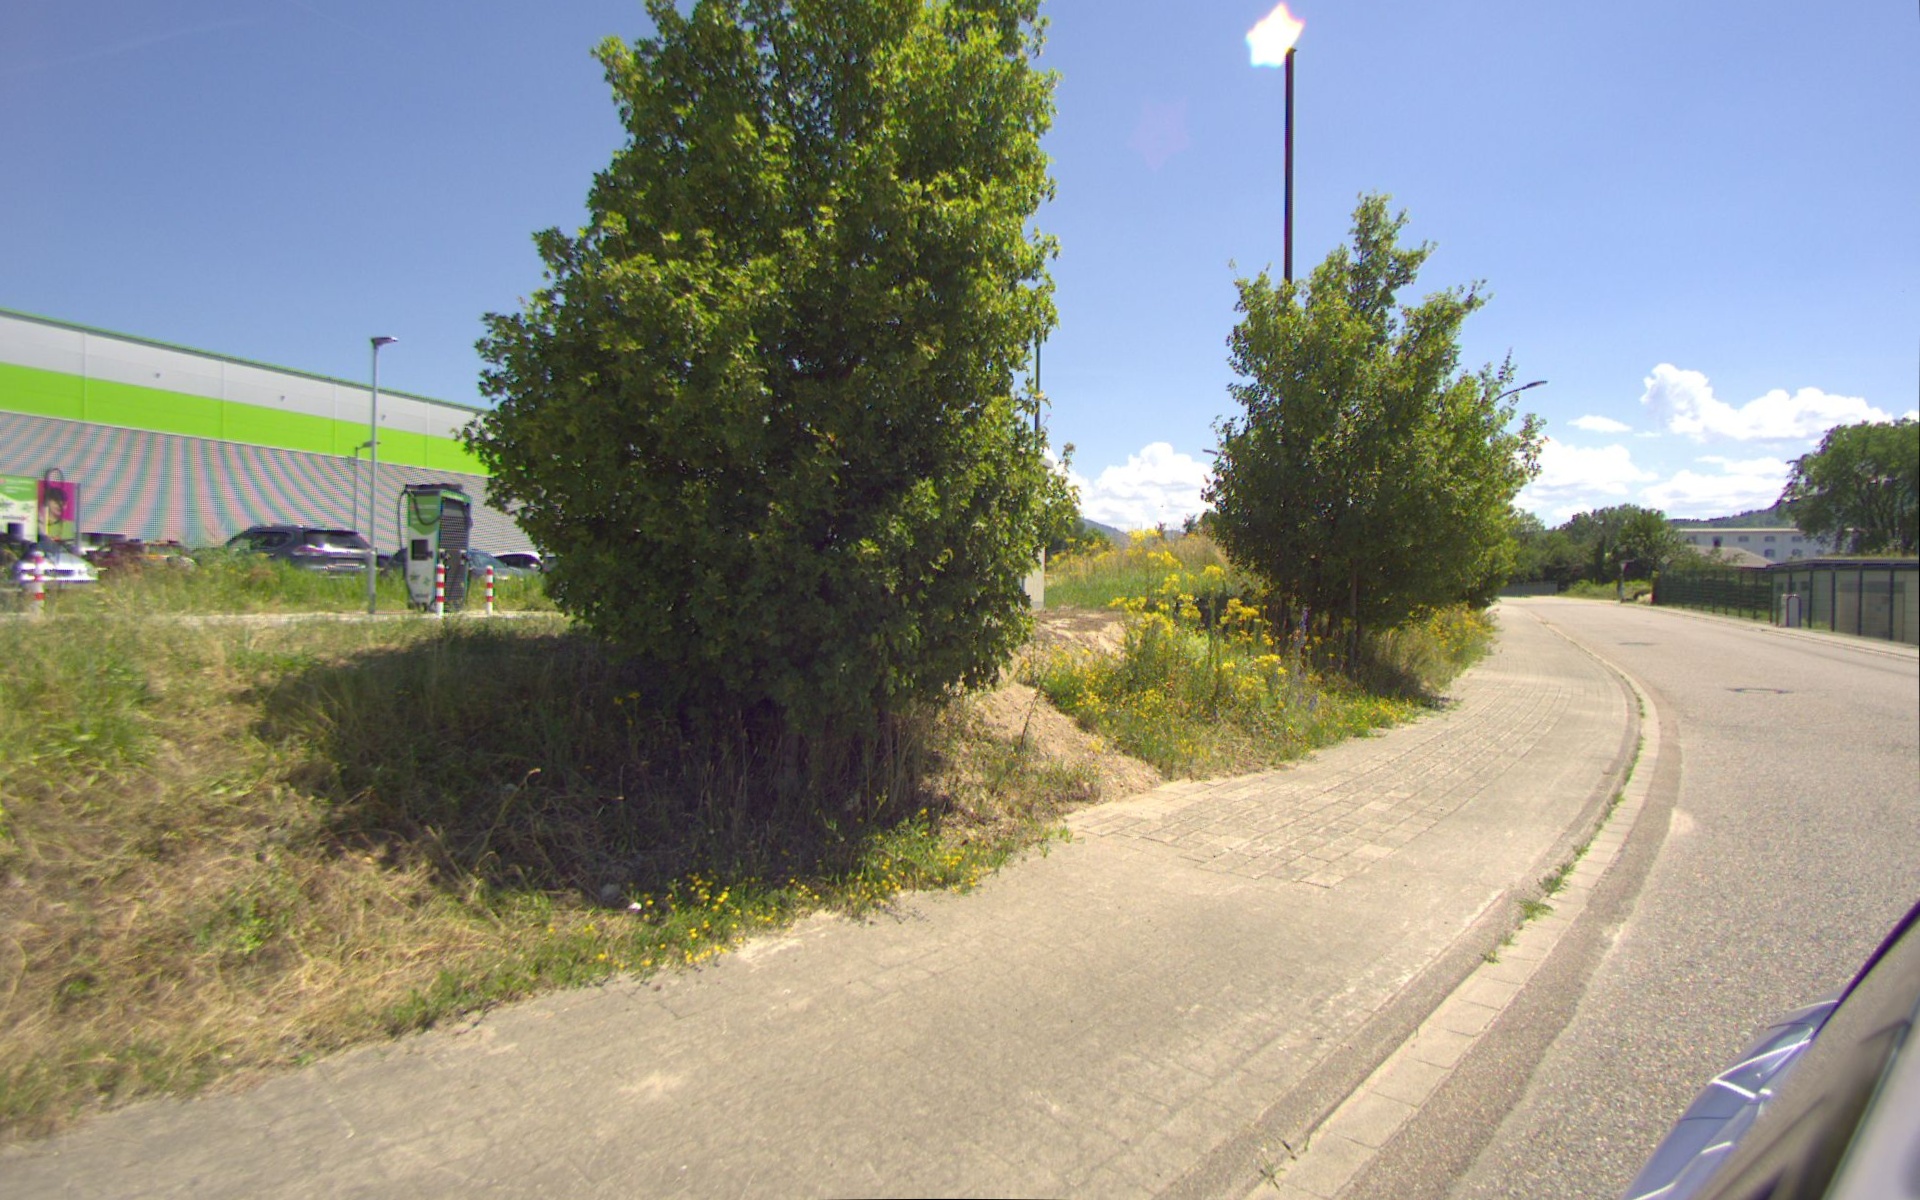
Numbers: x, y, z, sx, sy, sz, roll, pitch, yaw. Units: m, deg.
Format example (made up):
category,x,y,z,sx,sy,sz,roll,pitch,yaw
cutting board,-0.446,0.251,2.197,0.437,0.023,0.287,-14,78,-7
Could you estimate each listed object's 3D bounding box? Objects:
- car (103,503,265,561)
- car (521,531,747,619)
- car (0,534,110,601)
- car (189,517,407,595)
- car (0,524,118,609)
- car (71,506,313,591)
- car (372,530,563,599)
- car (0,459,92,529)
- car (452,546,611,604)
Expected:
category,x,y,z,sx,sy,sz,roll,pitch,yaw
car,-21.987,-1.897,28.699,3.955,1.537,1.985,2,2,23
car,-7.034,-0.577,21.866,4.480,1.645,1.825,3,3,19
car,-23.973,-0.882,25.779,3.949,1.548,1.825,3,3,19
car,-13.909,-0.948,21.297,3.949,1.440,1.825,3,3,19
car,-16.245,-0.616,16.734,3.949,1.281,1.825,3,3,19
car,-14.665,-0.997,19.346,3.949,1.440,1.825,3,3,19
car,-11.667,-0.874,24.006,3.949,1.440,1.825,3,3,19
car,-28.113,-3.094,30.094,3.955,1.870,1.985,2,2,23
car,-12.125,-0.746,28.671,3.949,1.440,1.825,3,3,19
